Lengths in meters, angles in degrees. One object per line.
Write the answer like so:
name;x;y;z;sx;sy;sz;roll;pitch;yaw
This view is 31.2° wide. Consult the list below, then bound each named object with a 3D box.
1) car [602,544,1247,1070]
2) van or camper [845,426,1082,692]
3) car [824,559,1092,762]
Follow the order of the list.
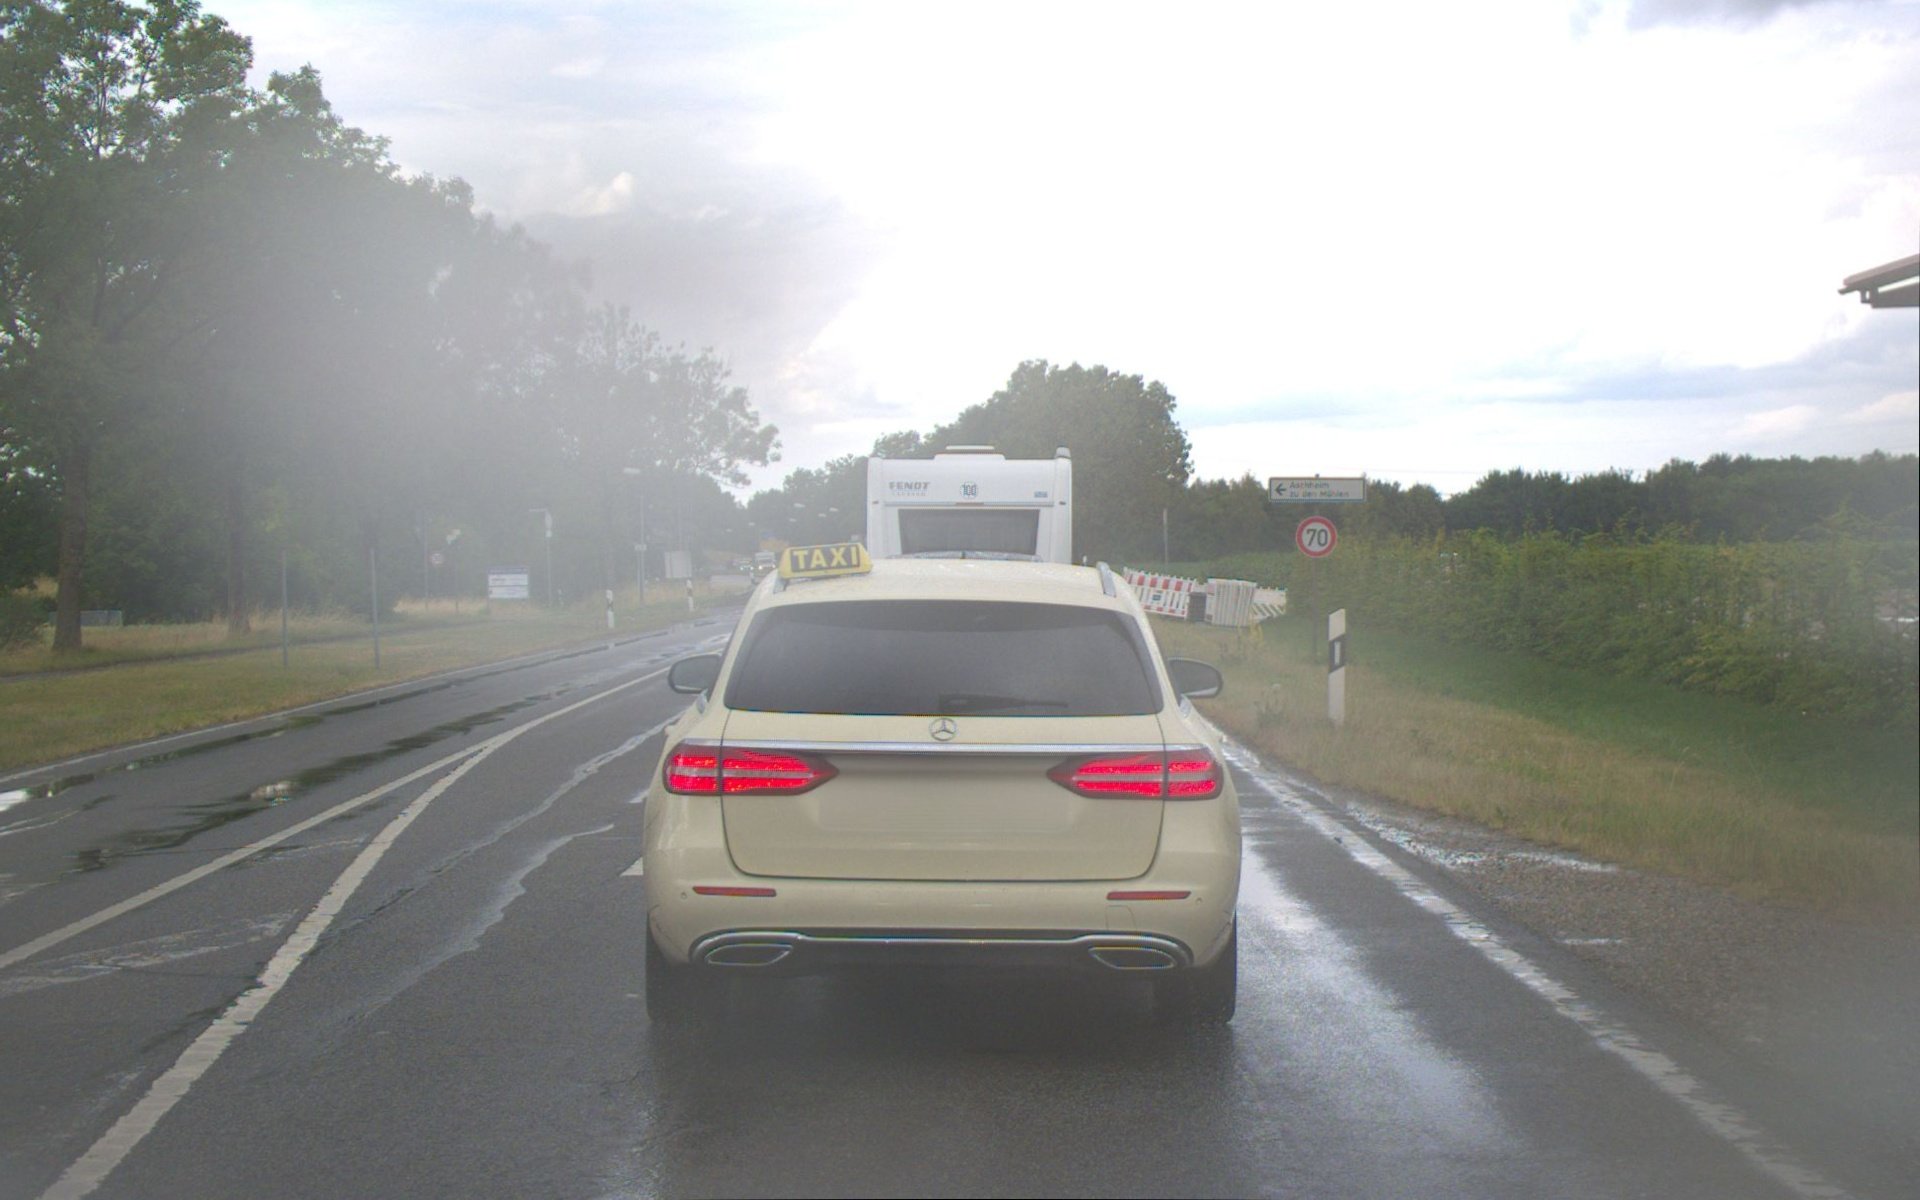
car;-0.089;0.549;11.655;1.797;1.459;4.031;0;1;0
van or camper;0.080;-0.482;40.428;2.497;2.821;5.934;-2;1;1
car;-0.022;0.403;26.268;1.894;1.424;3.928;0;1;0
